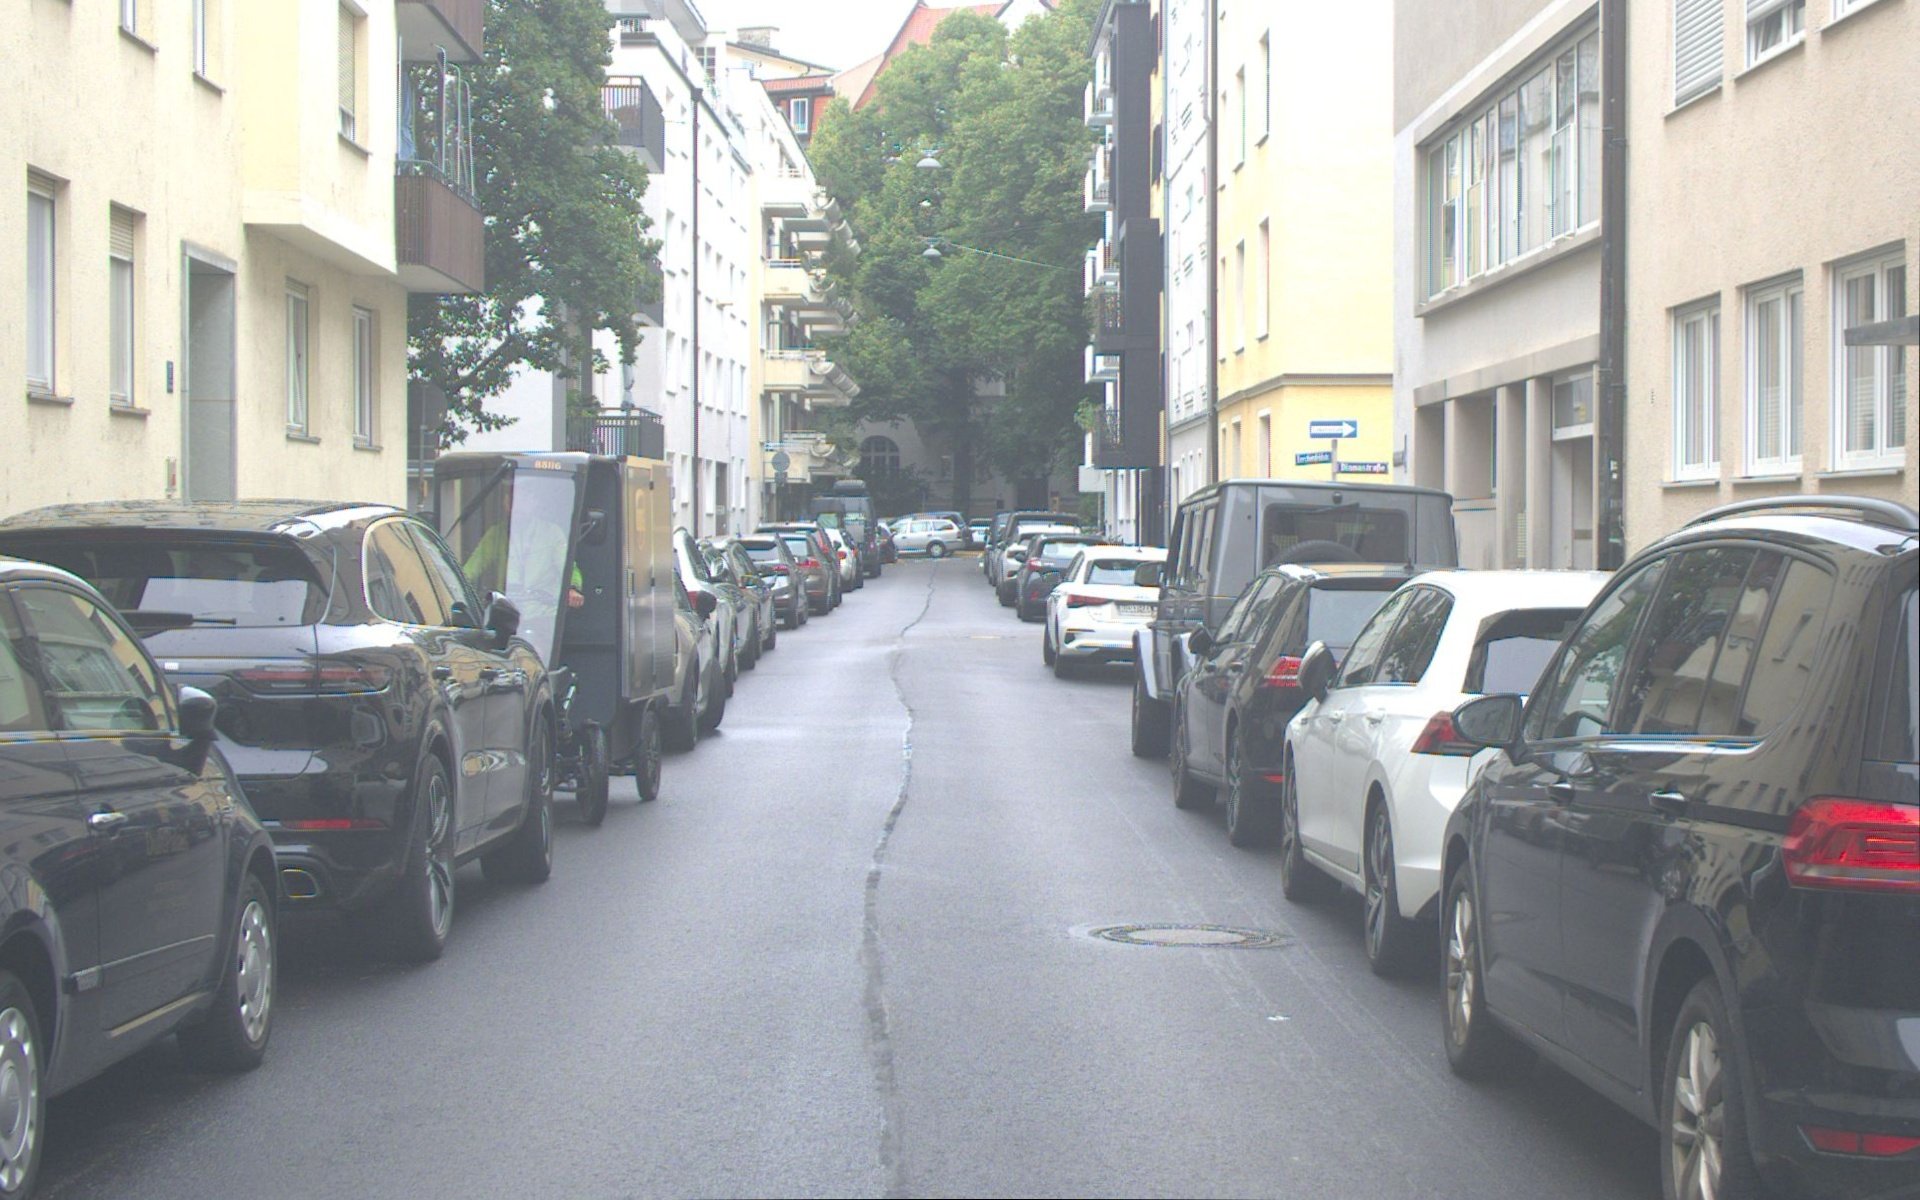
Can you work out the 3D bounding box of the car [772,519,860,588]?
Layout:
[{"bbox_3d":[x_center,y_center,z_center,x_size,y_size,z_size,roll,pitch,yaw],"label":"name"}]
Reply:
[{"bbox_3d":[-3.325,-1.109,80.106,1.777,1.482,4.519,-2,1,0],"label":"car"}]

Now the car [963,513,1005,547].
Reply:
[{"bbox_3d":[1.021,-2.971,145.824,1.642,1.379,3.746,-2,1,-1],"label":"car"}]

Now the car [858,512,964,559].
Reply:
[{"bbox_3d":[-1.841,-2.427,128.646,3.885,1.579,1.648,-2,1,-1],"label":"car"}]

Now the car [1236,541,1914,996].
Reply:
[{"bbox_3d":[2.227,0.537,13.609,1.711,1.481,4.245,1,1,-3],"label":"car"}]

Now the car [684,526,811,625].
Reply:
[{"bbox_3d":[-3.261,-0.405,53.404,1.693,1.437,3.942,-1,1,0],"label":"car"}]

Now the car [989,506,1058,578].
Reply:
[{"bbox_3d":[1.867,-1.756,102.981,1.829,1.992,4.416,3,1,-1],"label":"car"}]

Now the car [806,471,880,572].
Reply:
[{"bbox_3d":[-3.390,-2.280,100.096,1.936,2.792,4.533,-2,1,-1],"label":"car"}]

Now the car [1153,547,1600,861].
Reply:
[{"bbox_3d":[2.138,0.477,18.766,1.711,1.481,4.245,1,1,-3],"label":"car"}]

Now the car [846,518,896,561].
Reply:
[{"bbox_3d":[-3.054,-2.107,118.756,1.642,1.379,3.483,-2,1,-1],"label":"car"}]

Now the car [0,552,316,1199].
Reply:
[{"bbox_3d":[-2.763,0.620,8.638,1.563,1.455,3.475,0,1,1],"label":"car"}]

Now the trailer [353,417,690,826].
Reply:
[{"bbox_3d":[-2.406,0.082,19.485,1.355,2.108,3.318,0,1,2],"label":"trailer"}]

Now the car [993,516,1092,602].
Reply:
[{"bbox_3d":[1.615,-0.839,68.682,1.682,1.562,4.416,3,2,-2],"label":"car"}]

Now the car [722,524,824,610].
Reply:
[{"bbox_3d":[-3.307,-0.612,61.220,1.693,1.437,3.978,-1,1,-2],"label":"car"}]

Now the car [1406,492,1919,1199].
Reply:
[{"bbox_3d":[2.304,0.598,8.382,1.711,1.602,4.245,1,1,-2],"label":"car"}]

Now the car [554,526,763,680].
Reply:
[{"bbox_3d":[-3.144,-0.016,36.662,1.766,1.478,4.424,0,2,1],"label":"car"}]

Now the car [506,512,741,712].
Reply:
[{"bbox_3d":[-2.972,0.063,31.100,1.765,1.669,4.368,-1,1,-1],"label":"car"}]

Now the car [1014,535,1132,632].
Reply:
[{"bbox_3d":[1.888,-0.312,58.466,1.751,1.464,4.343,3,2,-1],"label":"car"}]

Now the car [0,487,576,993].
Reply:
[{"bbox_3d":[-2.743,0.425,13.503,1.879,1.654,4.415,0,1,1],"label":"car"}]

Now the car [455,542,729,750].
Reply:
[{"bbox_3d":[-2.689,0.290,25.830,1.652,1.431,3.803,-1,1,0],"label":"car"}]

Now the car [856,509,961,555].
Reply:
[{"bbox_3d":[-1.954,-2.585,130.595,3.885,1.579,1.648,-2,1,-1],"label":"car"}]

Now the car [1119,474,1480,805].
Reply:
[{"bbox_3d":[2.196,0.181,23.381,1.750,1.968,4.344,3,2,-3],"label":"car"}]

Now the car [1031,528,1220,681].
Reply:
[{"bbox_3d":[1.802,0.009,38.594,1.819,1.403,3.953,1,4,-1],"label":"car"}]

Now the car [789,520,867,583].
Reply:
[{"bbox_3d":[-3.267,-1.214,85.450,1.776,1.448,4.046,-2,1,-1],"label":"car"}]

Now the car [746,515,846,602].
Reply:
[{"bbox_3d":[-3.179,-0.838,67.208,1.776,1.623,4.415,-1,1,-1],"label":"car"}]
